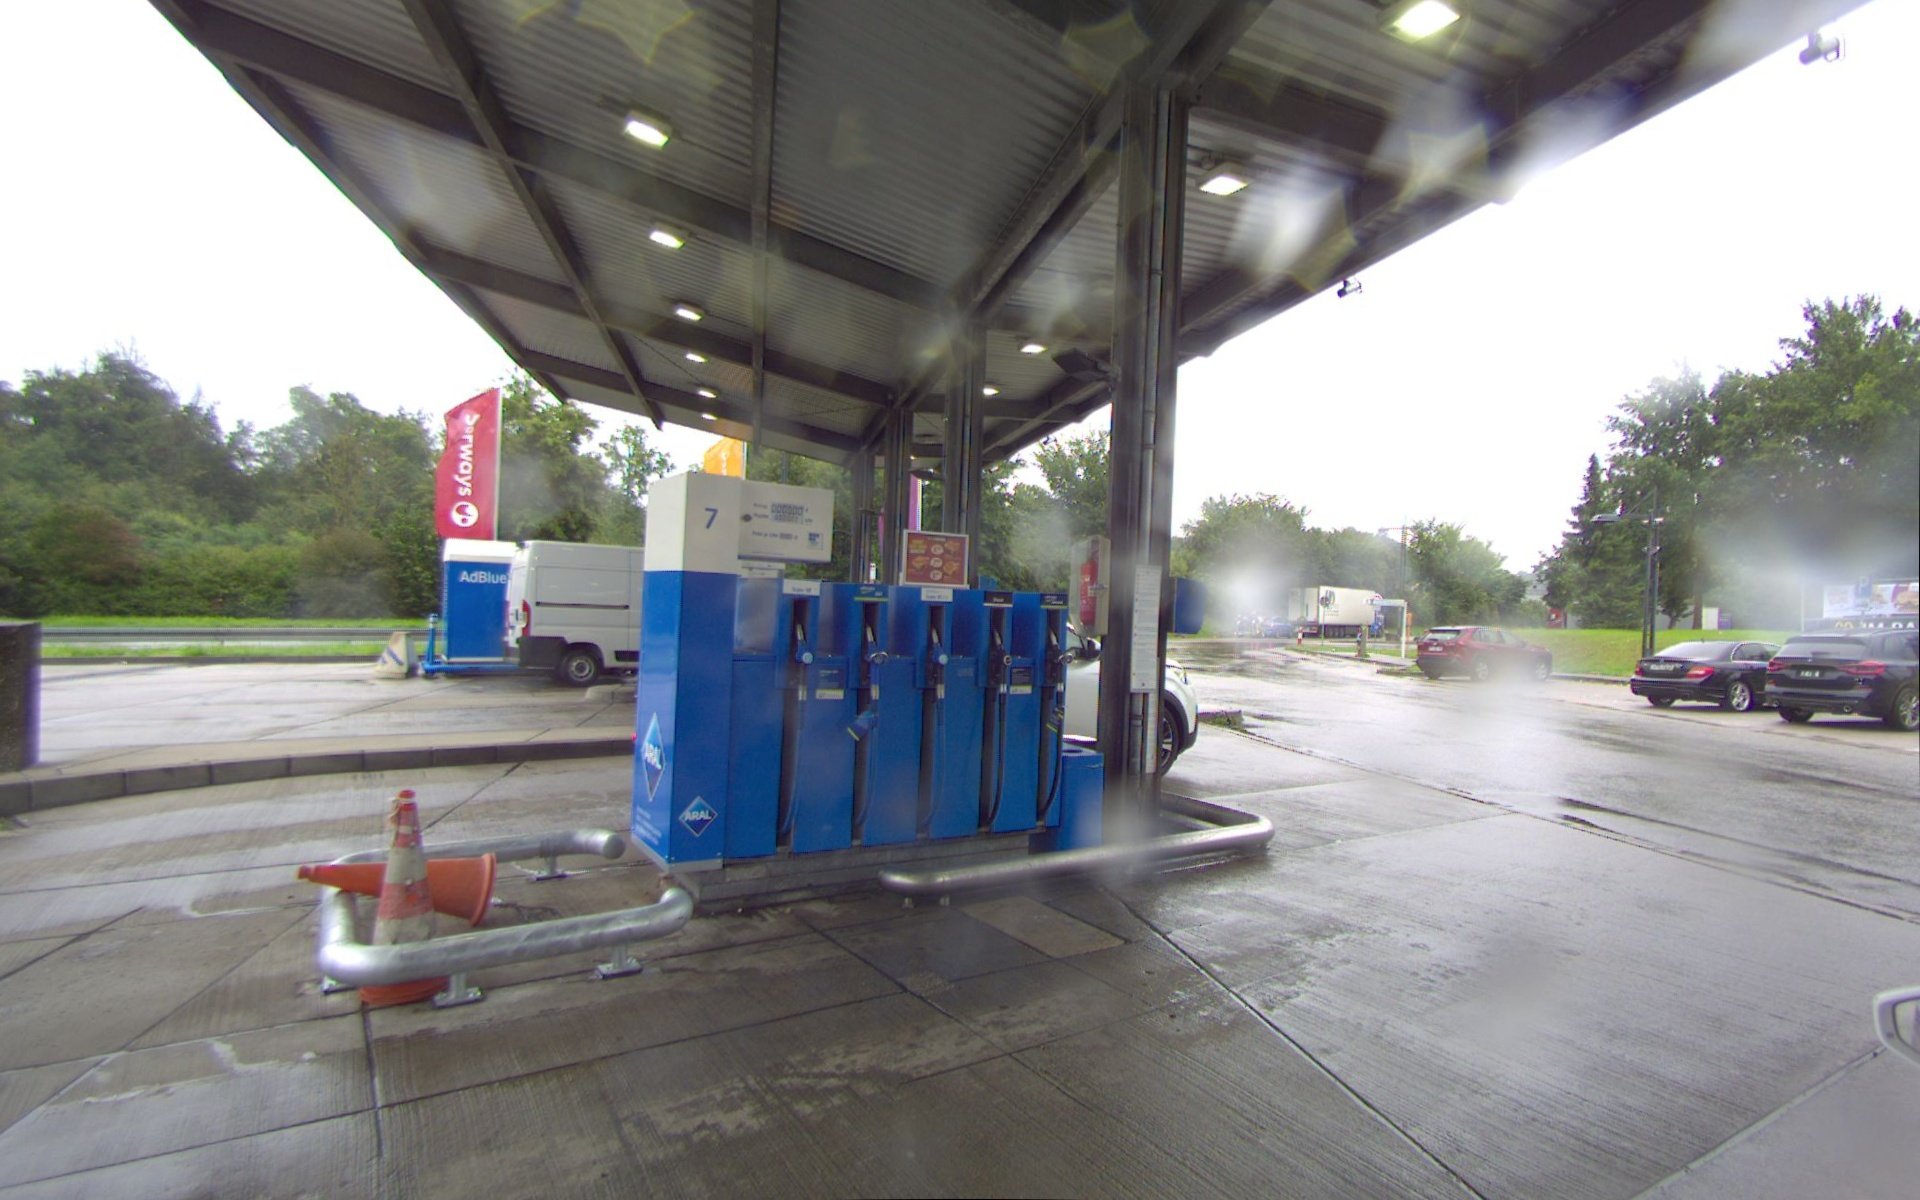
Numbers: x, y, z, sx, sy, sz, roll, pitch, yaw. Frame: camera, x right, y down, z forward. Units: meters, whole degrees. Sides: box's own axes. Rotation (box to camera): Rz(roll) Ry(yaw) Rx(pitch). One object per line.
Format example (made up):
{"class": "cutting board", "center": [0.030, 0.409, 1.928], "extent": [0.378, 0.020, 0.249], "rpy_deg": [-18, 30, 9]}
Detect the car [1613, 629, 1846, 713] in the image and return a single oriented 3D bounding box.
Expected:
{"class": "car", "center": [15.930, 1.422, 20.822], "extent": [4.119, 1.585, 1.883], "rpy_deg": [1, -1, -19]}

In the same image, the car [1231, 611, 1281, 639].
{"class": "car", "center": [20.860, 1.744, 70.777], "extent": [1.903, 1.862, 4.373], "rpy_deg": [1, 0, 38]}

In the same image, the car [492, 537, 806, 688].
{"class": "car", "center": [-5.793, 0.271, 18.974], "extent": [5.227, 2.496, 2.306], "rpy_deg": [1, -1, -34]}

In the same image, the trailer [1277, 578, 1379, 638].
{"class": "trailer", "center": [30.908, 0.762, 83.854], "extent": [3.416, 4.618, 13.847], "rpy_deg": [2, 0, 40]}

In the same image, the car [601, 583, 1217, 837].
{"class": "car", "center": [-0.227, 0.727, 8.425], "extent": [4.953, 1.586, 1.803], "rpy_deg": [1, 0, -35]}

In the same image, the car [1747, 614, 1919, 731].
{"class": "car", "center": [16.143, 1.194, 17.403], "extent": [4.344, 1.852, 1.883], "rpy_deg": [1, -1, -19]}

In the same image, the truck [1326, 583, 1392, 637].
{"class": "truck", "center": [35.581, 0.933, 89.457], "extent": [3.416, 4.618, 6.704], "rpy_deg": [2, 0, 40]}

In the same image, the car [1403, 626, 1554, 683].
{"class": "car", "center": [15.994, 1.651, 30.968], "extent": [4.294, 1.617, 1.879], "rpy_deg": [1, -1, -24]}
